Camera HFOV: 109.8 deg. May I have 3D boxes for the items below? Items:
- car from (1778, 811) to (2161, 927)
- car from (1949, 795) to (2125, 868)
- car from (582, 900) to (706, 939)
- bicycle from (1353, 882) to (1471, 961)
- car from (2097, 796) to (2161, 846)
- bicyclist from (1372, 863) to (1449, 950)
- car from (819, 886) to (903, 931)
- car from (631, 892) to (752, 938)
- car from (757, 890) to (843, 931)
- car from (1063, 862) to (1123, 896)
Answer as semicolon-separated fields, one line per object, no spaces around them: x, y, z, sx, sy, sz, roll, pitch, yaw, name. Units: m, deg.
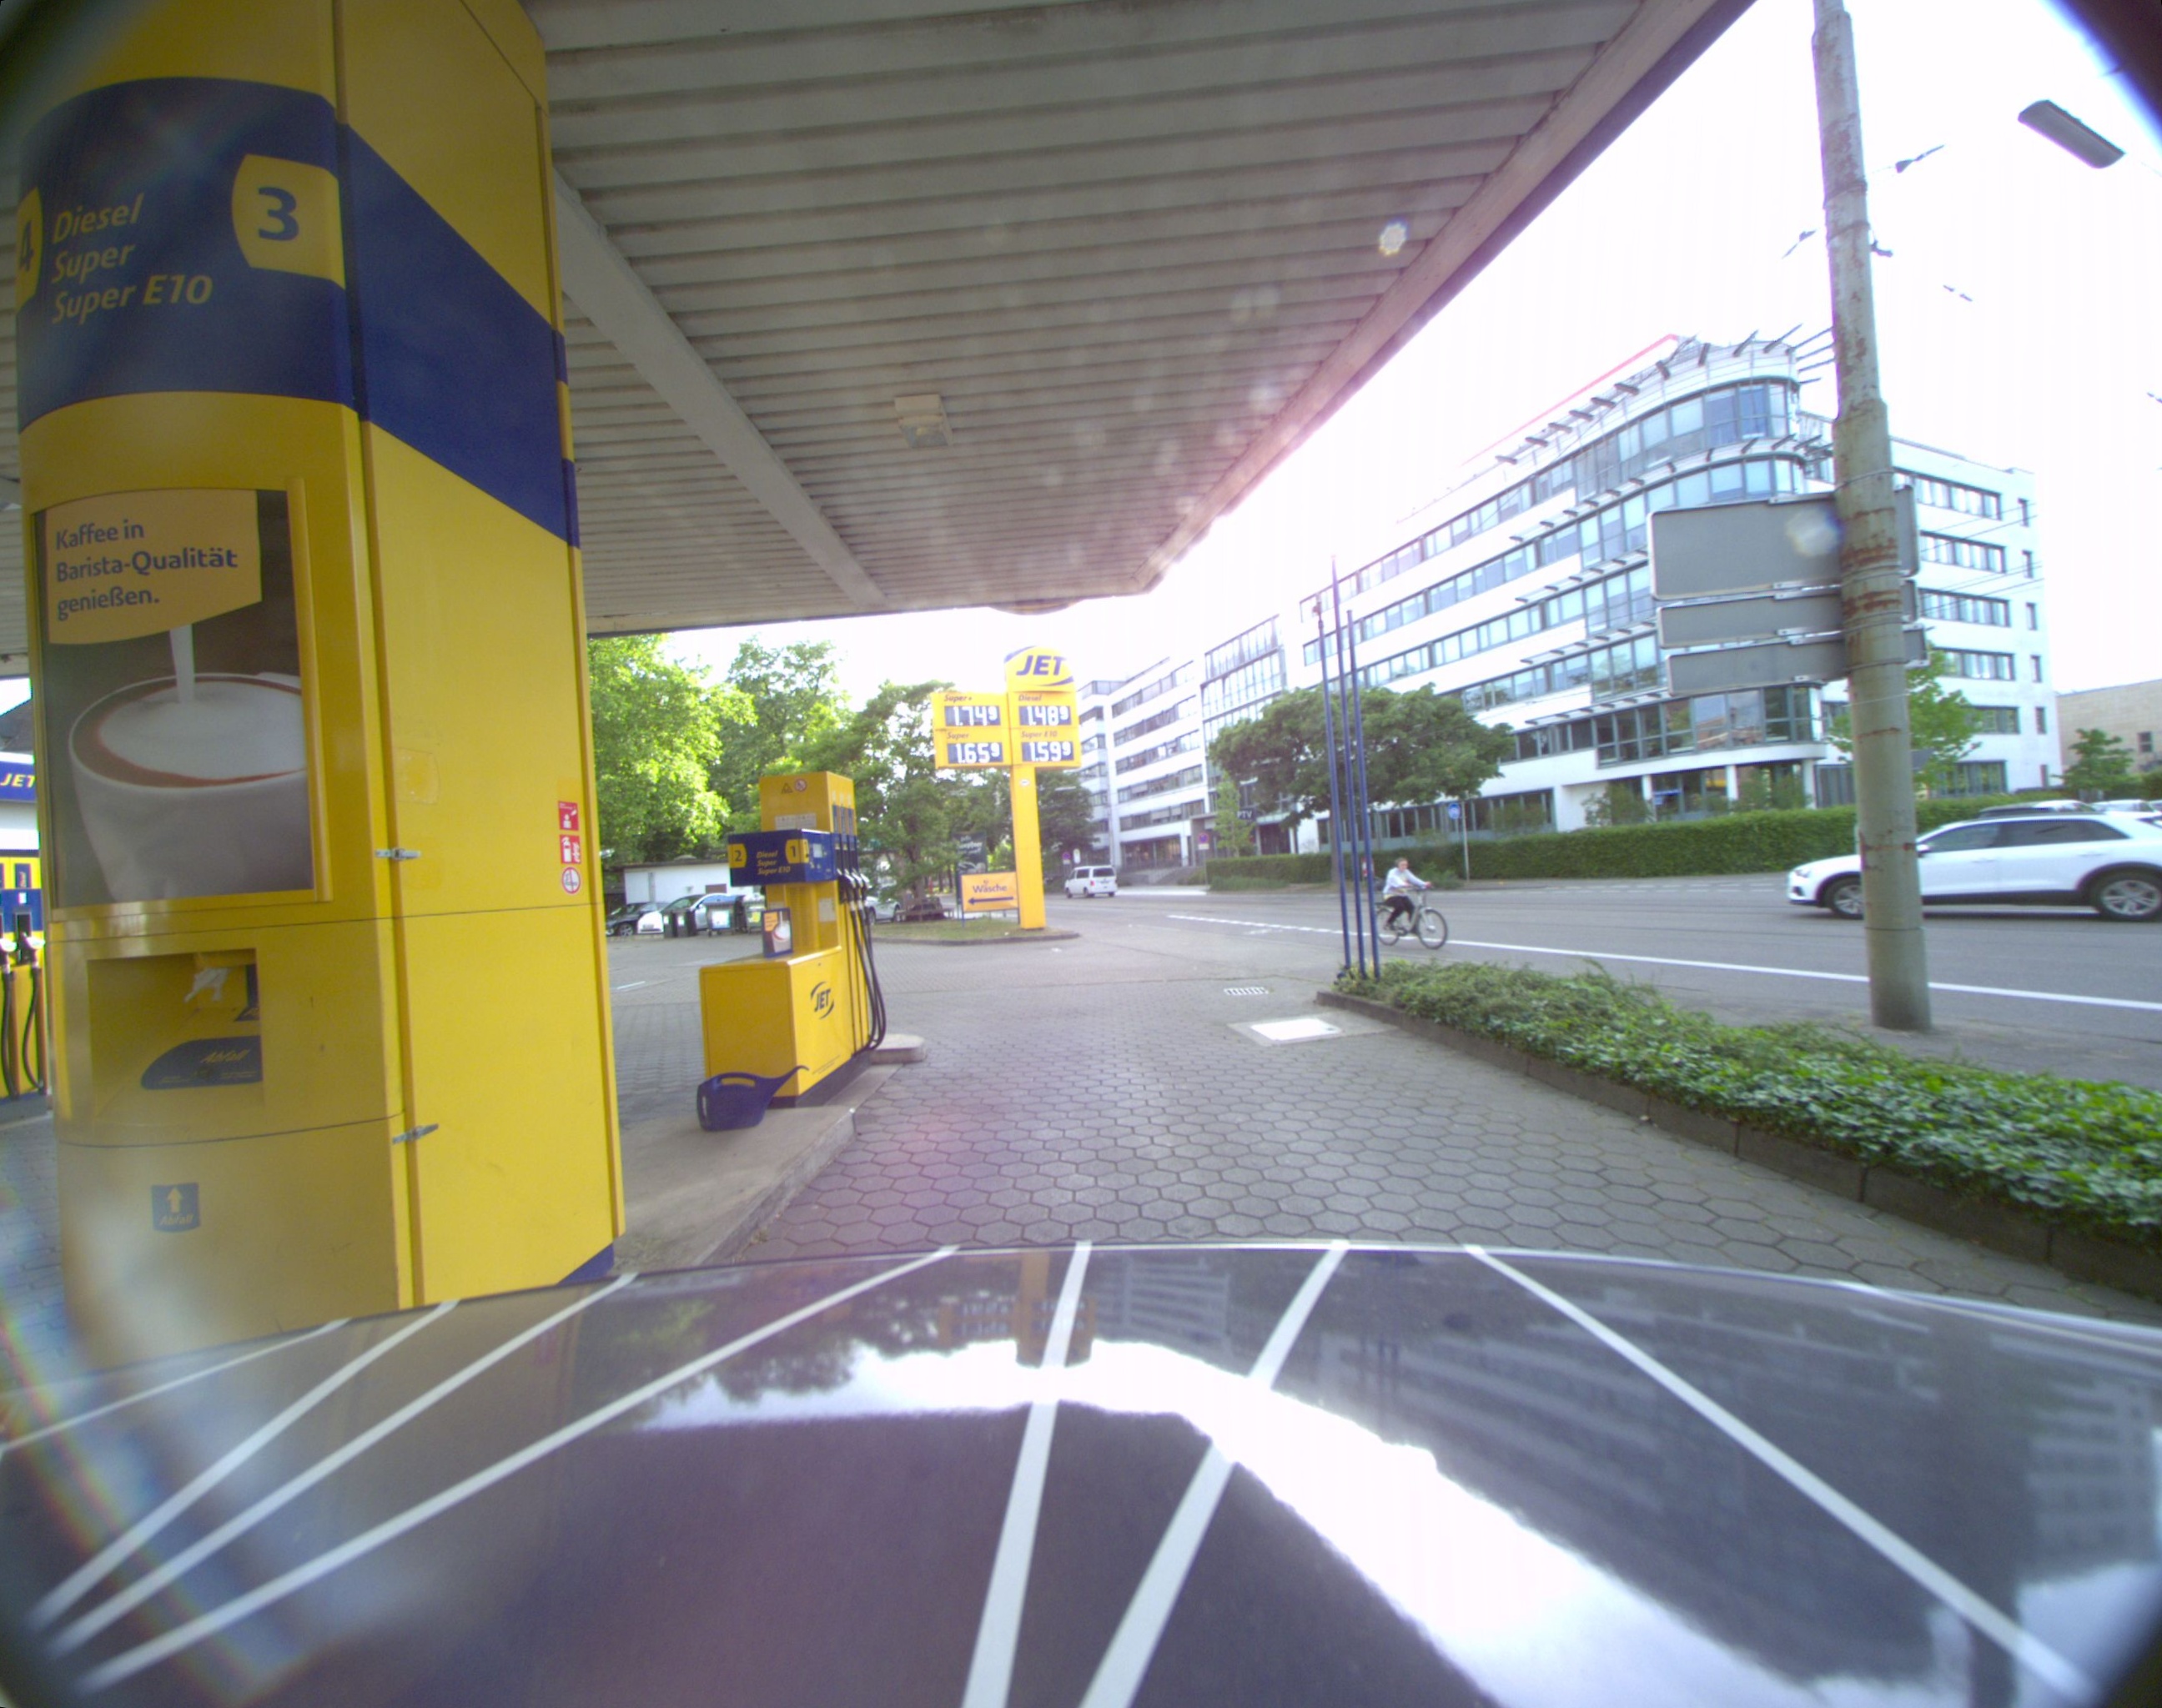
14.378;0.278;12.189;1.844;1.566;4.371;-2;-2;-37;car
27.380;-0.642;21.759;4.438;1.603;1.976;-5;-1;-23;car
-17.742;2.636;31.060;1.745;1.269;4.230;-5;-3;19;car
5.967;1.183;13.839;0.736;1.250;1.936;-6;0;-20;bicycle
37.155;-1.227;26.068;4.109;1.544;1.786;-4;-1;-23;car
5.959;0.932;13.780;0.736;1.451;0.915;-6;0;-20;bicyclist
-8.683;2.122;30.371;1.739;1.500;4.003;-4;-2;6;car
-15.356;2.388;30.244;1.785;1.514;4.229;-4;-3;17;car
-11.798;2.328;32.232;1.739;1.500;4.004;-4;-2;6;car
0.706;1.665;49.226;2.002;1.956;4.882;-3;-1;-22;car
